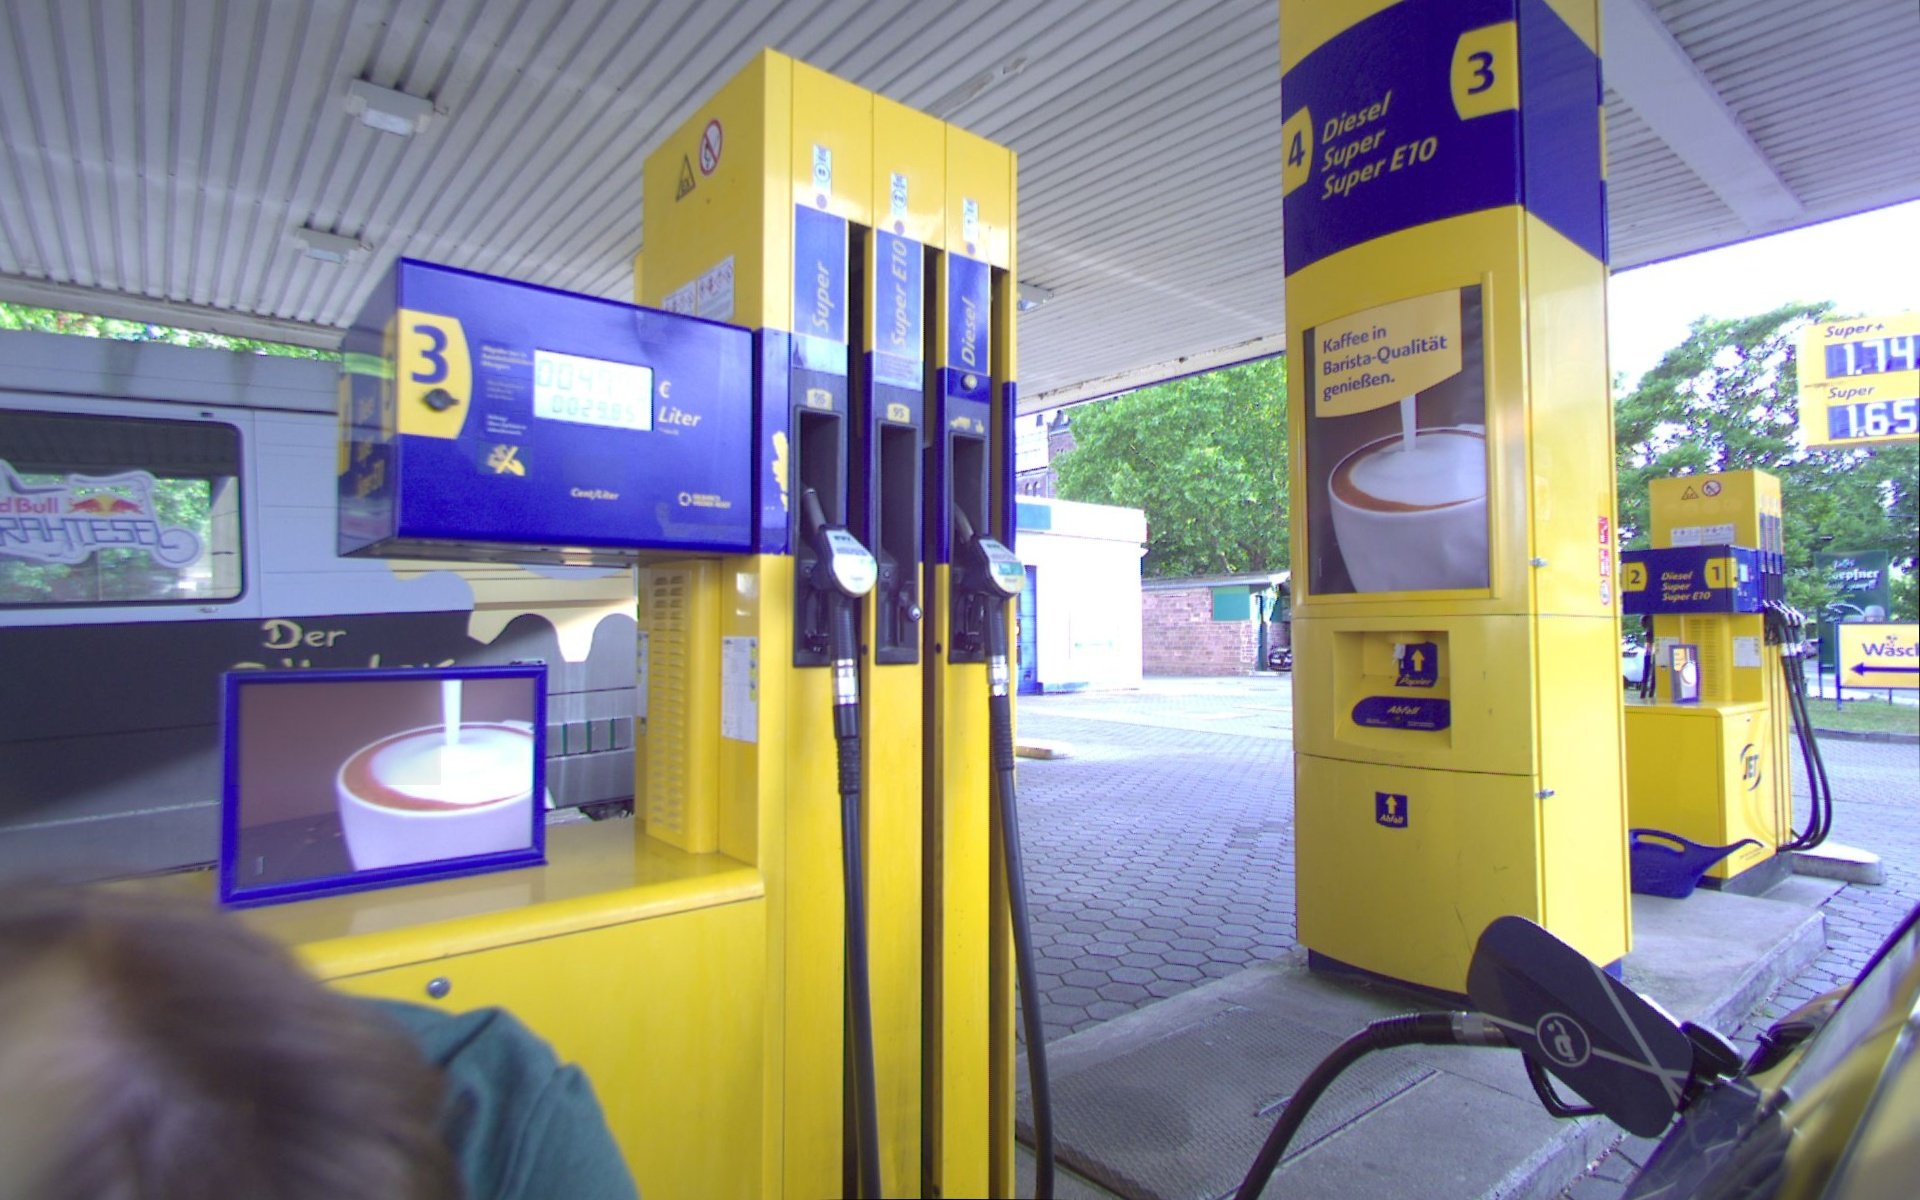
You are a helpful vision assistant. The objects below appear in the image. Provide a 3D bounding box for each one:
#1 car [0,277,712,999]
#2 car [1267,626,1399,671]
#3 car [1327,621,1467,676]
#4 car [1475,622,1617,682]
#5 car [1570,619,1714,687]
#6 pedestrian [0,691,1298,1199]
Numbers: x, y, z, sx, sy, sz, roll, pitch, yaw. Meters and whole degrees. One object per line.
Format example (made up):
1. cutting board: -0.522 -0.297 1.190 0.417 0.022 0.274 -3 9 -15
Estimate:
1. car: -4.101 0.161 4.898 5.197 2.726 2.258 1 -2 -39
2. car: 12.699 1.650 34.432 4.303 1.393 1.777 2 -1 -28
3. car: 13.896 1.527 32.141 4.303 1.622 1.777 2 -1 -28
4. car: 17.855 1.585 30.806 4.303 1.622 1.776 4 -4 -28
5. car: 18.365 1.442 27.207 4.308 1.622 1.774 4 -4 -35
6. pedestrian: -0.327 0.749 0.551 0.662 1.298 0.751 0 0 -41
